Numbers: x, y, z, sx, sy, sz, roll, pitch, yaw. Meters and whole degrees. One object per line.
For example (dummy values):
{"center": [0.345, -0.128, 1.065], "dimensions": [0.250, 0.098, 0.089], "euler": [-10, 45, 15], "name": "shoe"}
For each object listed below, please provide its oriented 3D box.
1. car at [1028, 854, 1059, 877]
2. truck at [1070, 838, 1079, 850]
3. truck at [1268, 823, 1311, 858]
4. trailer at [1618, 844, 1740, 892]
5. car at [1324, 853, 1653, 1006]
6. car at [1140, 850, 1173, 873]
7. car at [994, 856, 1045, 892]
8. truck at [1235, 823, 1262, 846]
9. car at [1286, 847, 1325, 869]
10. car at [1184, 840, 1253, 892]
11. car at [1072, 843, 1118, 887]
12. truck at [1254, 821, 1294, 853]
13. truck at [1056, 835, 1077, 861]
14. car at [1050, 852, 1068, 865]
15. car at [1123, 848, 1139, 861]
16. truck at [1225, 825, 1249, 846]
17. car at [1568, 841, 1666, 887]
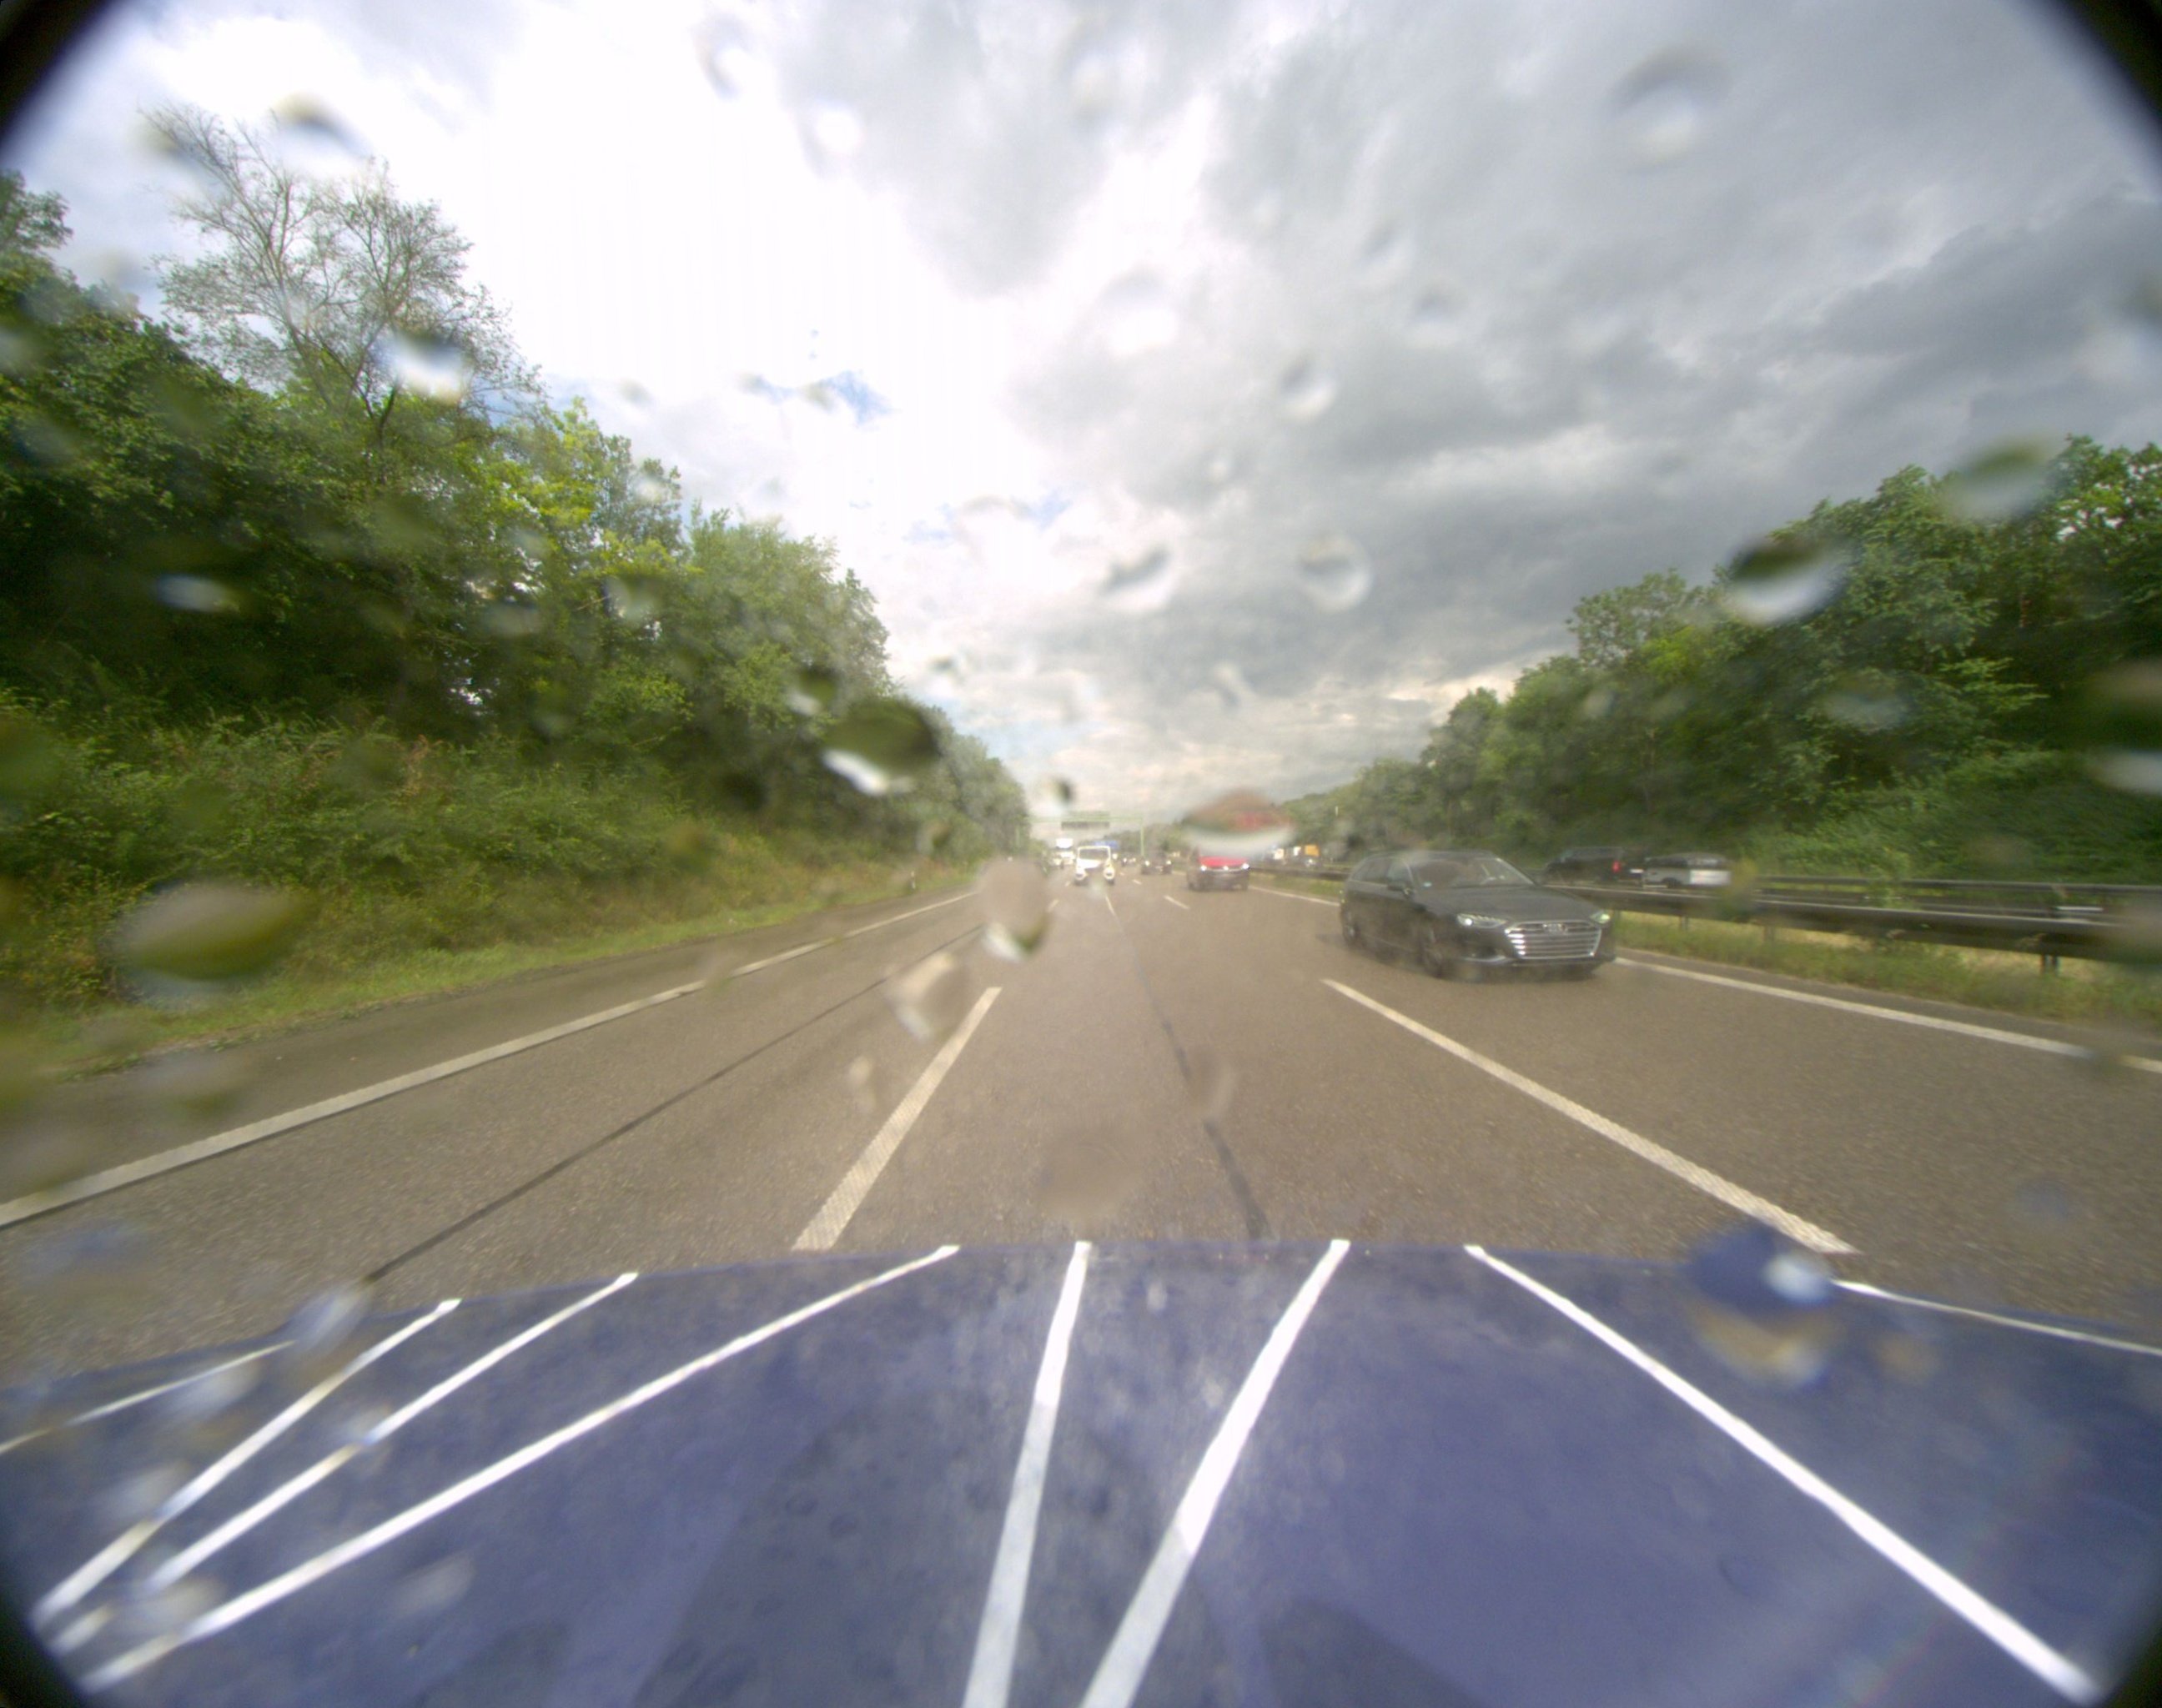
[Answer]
{"center": [-2.628, 0.798, 54.709], "dimensions": [1.798, 1.410, 4.839], "euler": [-2, 1, 2], "name": "car"}
{"center": [-1.364, -2.114, 162.772], "dimensions": [1.933, 2.417, 5.949], "euler": [-1, 0, 1], "name": "truck"}
{"center": [29.553, -1.921, 108.308], "dimensions": [3.622, 4.693, 9.802], "euler": [-2, 1, 2], "name": "truck"}
{"center": [22.682, 0.481, 29.008], "dimensions": [1.589, 1.653, 3.878], "euler": [-2, 1, 1], "name": "trailer"}
{"center": [4.798, 0.746, 9.927], "dimensions": [1.798, 1.410, 4.839], "euler": [-2, 1, 2], "name": "car"}
{"center": [5.480, 0.491, 55.384], "dimensions": [2.009, 1.488, 4.839], "euler": [-2, 1, 2], "name": "car"}
{"center": [-2.822, 0.887, 35.867], "dimensions": [1.798, 1.410, 4.839], "euler": [-2, 1, 2], "name": "car"}
{"center": [37.199, -4.237, 169.428], "dimensions": [3.622, 4.693, 11.874], "euler": [-2, 1, 3], "name": "truck"}
{"center": [17.904, 0.310, 60.750], "dimensions": [1.859, 1.653, 4.236], "euler": [-2, 1, 1], "name": "car"}
{"center": [5.358, 0.411, 30.203], "dimensions": [1.926, 1.855, 4.839], "euler": [-2, 1, 2], "name": "car"}
{"center": [0.754, 0.483, 38.820], "dimensions": [2.124, 1.988, 5.982], "euler": [-2, 1, 2], "name": "car"}
{"center": [30.615, -2.608, 121.198], "dimensions": [3.622, 4.693, 11.874], "euler": [-2, 1, 3], "name": "truck"}
{"center": [-2.196, -0.906, 119.218], "dimensions": [3.064, 3.827, 8.799], "euler": [-1, 0, 1], "name": "truck"}
{"center": [-2.538, 0.499, 88.780], "dimensions": [1.798, 1.410, 4.839], "euler": [-2, 1, 2], "name": "car"}
{"center": [6.045, 0.019, 92.440], "dimensions": [1.798, 1.410, 4.839], "euler": [-2, 1, 2], "name": "car"}
{"center": [38.413, -4.485, 187.466], "dimensions": [3.622, 4.693, 11.874], "euler": [-2, 1, 3], "name": "truck"}
{"center": [22.730, 0.383, 32.391], "dimensions": [1.589, 1.816, 3.682], "euler": [-2, 1, 1], "name": "car"}
